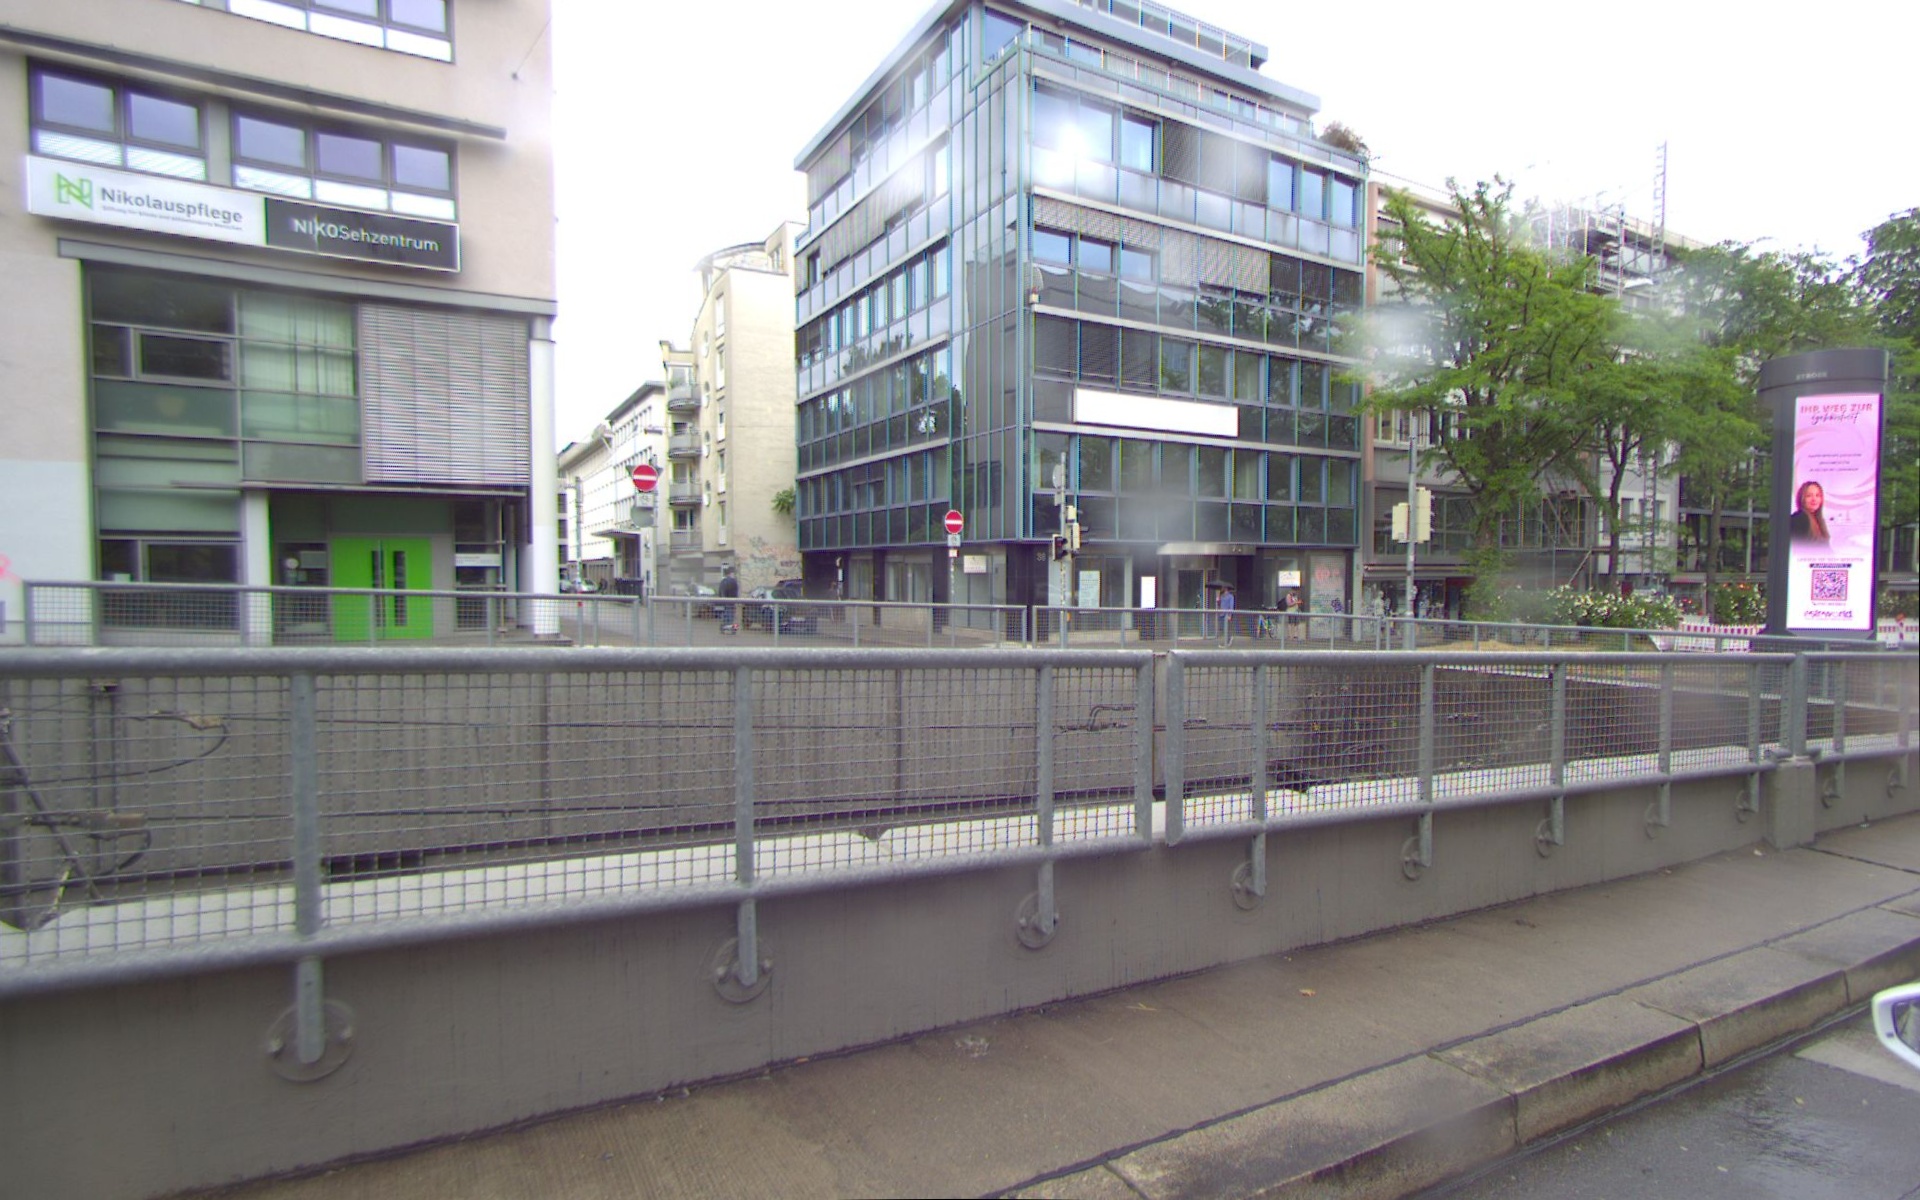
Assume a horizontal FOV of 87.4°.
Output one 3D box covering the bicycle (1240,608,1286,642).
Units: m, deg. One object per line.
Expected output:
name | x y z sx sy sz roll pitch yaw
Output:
bicycle | 9.865 0.813 32.726 1.544 1.100 0.444 1 1 -27

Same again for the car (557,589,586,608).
car | -34.090 -0.119 88.119 1.777 1.578 3.967 1 0 -30

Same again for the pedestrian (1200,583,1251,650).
pedestrian | 7.633 0.473 28.889 1.047 1.863 0.853 1 2 -30

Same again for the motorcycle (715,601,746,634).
motorcycle | -7.216 0.535 31.542 0.696 0.984 0.977 1 2 -29

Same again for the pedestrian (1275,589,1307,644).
pedestrian | 10.945 0.547 33.233 0.688 1.765 0.691 1 2 -35

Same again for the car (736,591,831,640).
car | -6.244 0.505 35.174 1.977 1.578 3.966 1 0 -31

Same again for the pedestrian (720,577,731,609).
pedestrian | -12.427 -0.372 53.334 0.443 1.664 0.326 1 2 -35

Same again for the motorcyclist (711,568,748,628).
motorcyclist | -7.225 -0.072 31.526 0.850 1.832 1.007 1 2 -29

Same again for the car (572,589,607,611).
car | -28.069 0.005 76.004 1.777 1.578 3.967 1 0 -30

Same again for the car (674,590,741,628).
car | -11.109 0.366 44.113 1.777 1.578 3.966 1 0 -31
